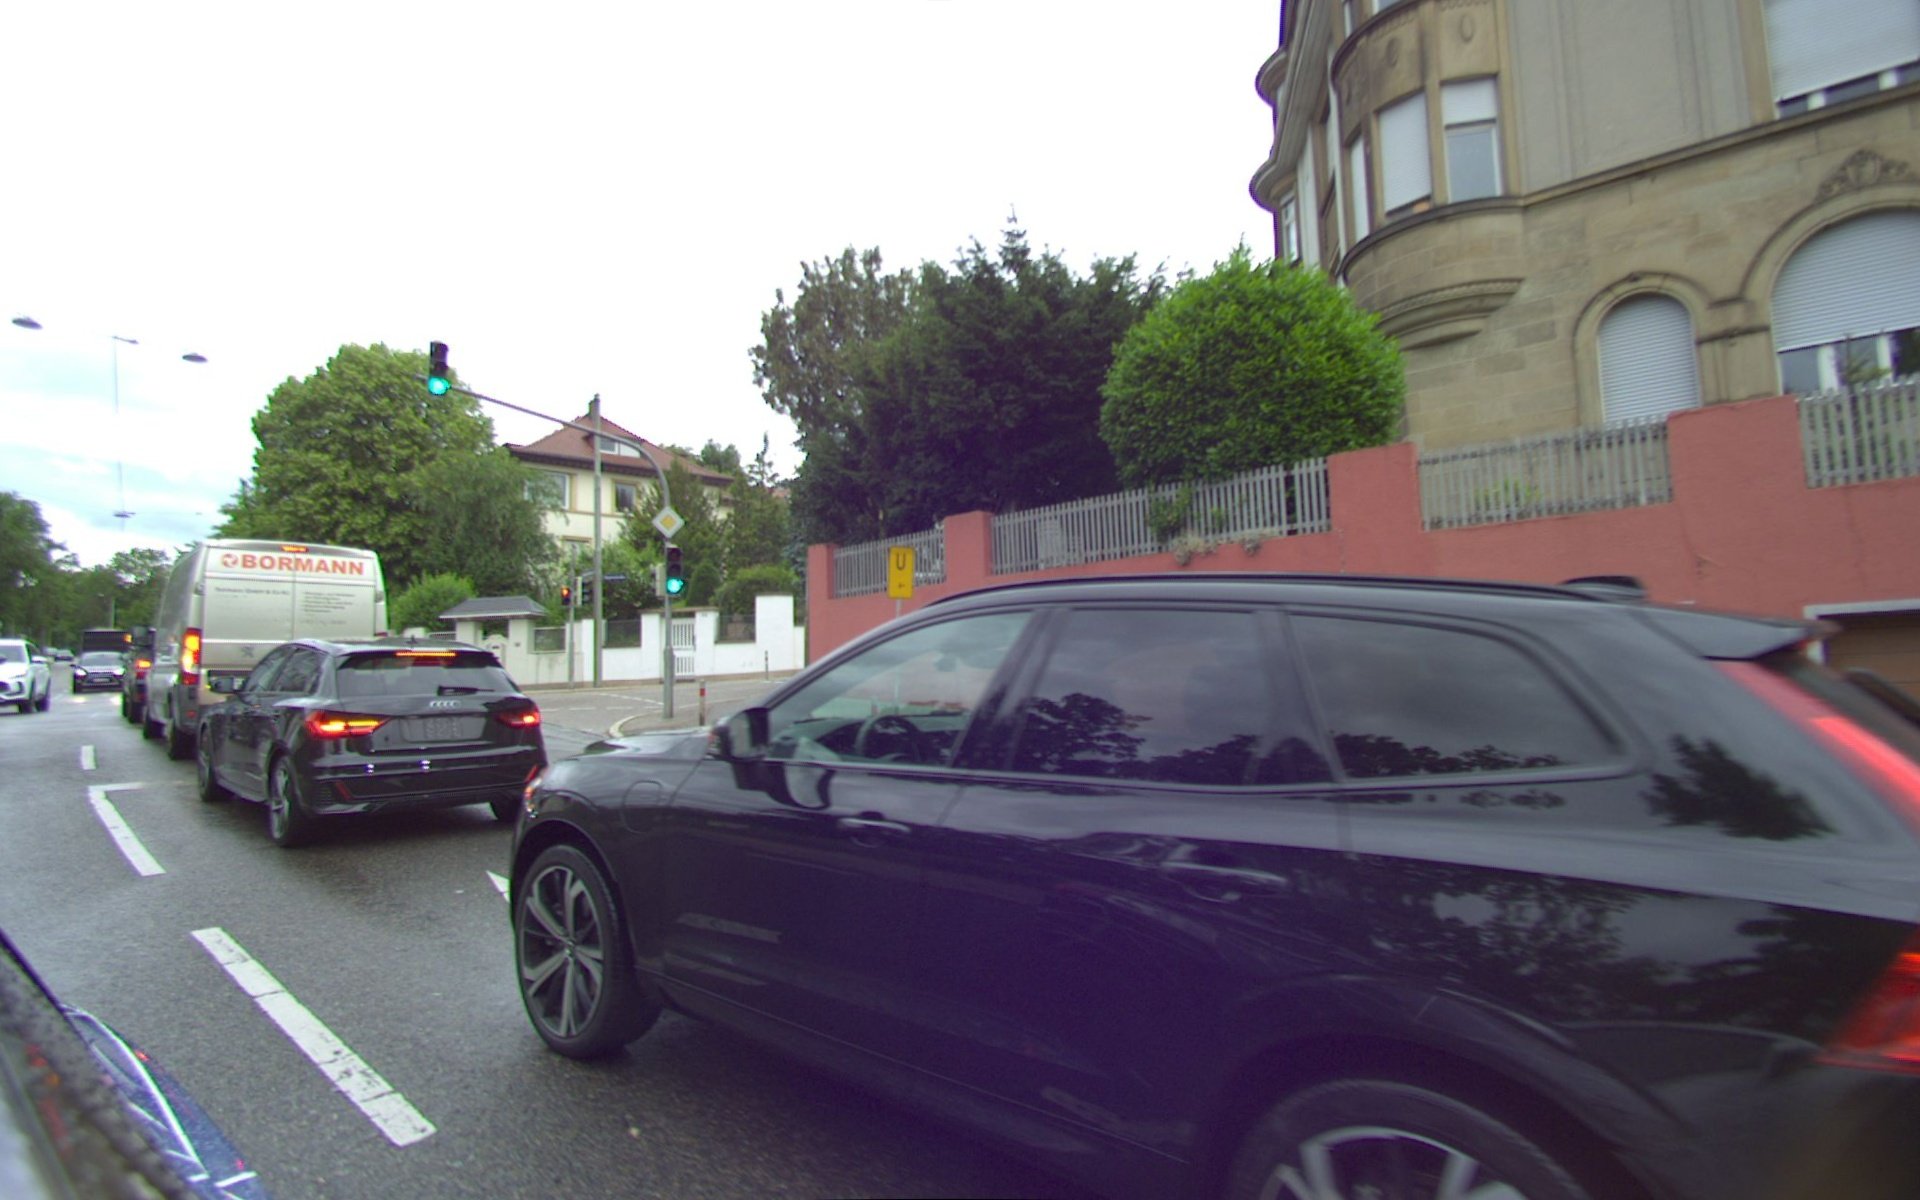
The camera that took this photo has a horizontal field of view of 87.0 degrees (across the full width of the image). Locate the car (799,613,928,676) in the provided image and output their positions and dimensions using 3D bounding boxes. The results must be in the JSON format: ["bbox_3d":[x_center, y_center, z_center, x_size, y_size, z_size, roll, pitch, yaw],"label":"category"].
[{"bbox_3d":[-2.815,1.300,29.438,3.308,1.449,1.676,-3,-7,-21],"label":"car"}]

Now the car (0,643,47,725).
[{"bbox_3d":[-21.093,1.764,21.983,1.760,1.654,4.204,3,-4,-43],"label":"car"}]

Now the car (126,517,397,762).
[{"bbox_3d":[-9.404,0.528,13.381,2.092,2.565,5.545,3,-4,-43],"label":"car"}]

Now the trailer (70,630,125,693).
[{"bbox_3d":[-38.037,2.662,44.671,1.744,2.645,3.038,1,-2,-40],"label":"trailer"}]

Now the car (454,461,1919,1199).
[{"bbox_3d":[0.425,0.690,3.101,4.582,1.587,1.856,-1,-3,40],"label":"car"}]

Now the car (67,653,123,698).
[{"bbox_3d":[-35.967,3.101,42.147,1.710,1.631,3.481,0,-1,-39],"label":"car"}]

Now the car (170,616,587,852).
[{"bbox_3d":[-4.883,0.913,8.263,4.000,1.441,1.795,-2,-4,43],"label":"car"}]

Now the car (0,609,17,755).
[{"bbox_3d":[-11.325,0.905,10.651,1.759,1.654,4.207,3,-4,-40],"label":"car"}]

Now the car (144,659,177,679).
[{"bbox_3d":[-60.822,5.271,77.048,1.828,1.497,5.378,3,-5,-37],"label":"car"}]

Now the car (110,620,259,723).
[{"bbox_3d":[-14.278,1.266,18.538,1.799,1.665,4.351,1,-4,-42],"label":"car"}]
